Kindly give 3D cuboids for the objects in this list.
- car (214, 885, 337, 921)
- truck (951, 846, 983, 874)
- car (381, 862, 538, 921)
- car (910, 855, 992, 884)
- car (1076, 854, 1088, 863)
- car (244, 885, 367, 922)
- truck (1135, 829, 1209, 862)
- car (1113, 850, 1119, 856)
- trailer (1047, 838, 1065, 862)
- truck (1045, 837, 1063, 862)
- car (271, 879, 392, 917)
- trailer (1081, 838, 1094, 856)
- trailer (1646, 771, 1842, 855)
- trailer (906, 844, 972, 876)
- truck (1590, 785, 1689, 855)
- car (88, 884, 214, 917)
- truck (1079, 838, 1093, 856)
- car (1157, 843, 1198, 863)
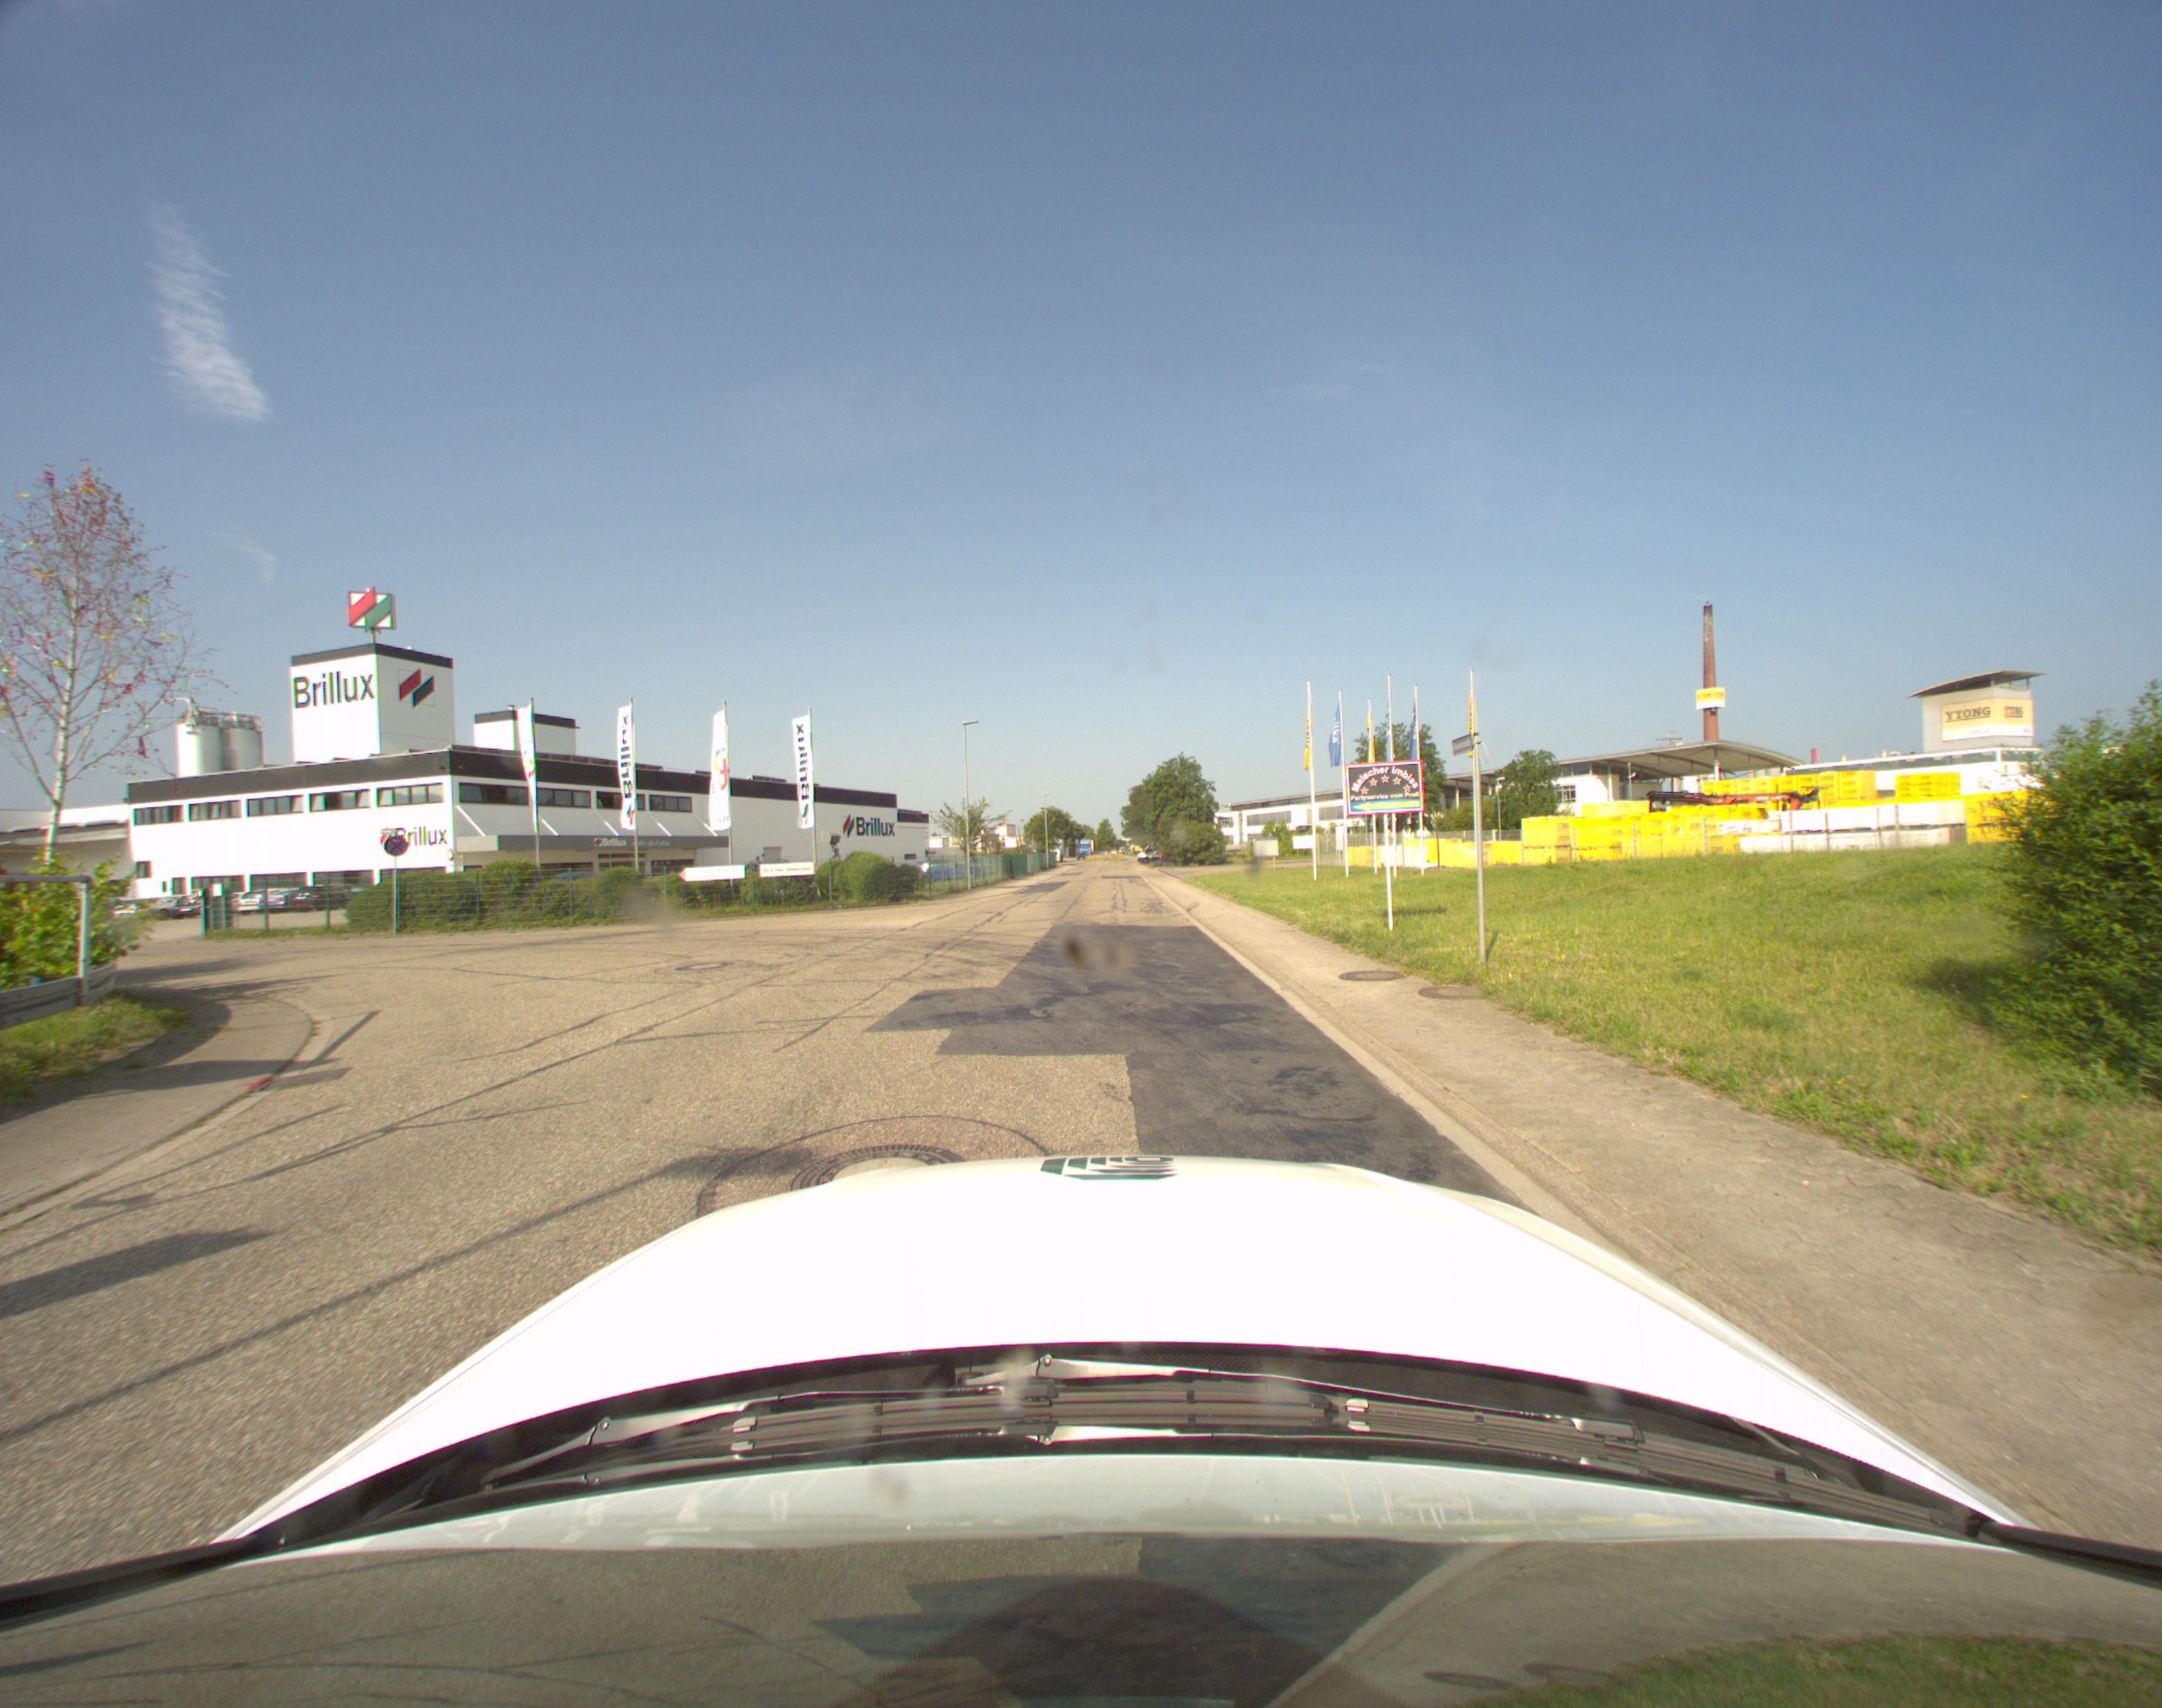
[{"bbox_3d":[-47.193,2.810,47.904,1.986,1.702,5.064,-3,0,2],"label":"car"},{"bbox_3d":[-16.499,0.872,117.915,2.493,4.071,5.568,-1,-1,17],"label":"truck"},{"bbox_3d":[-21.076,1.271,27.608,4.608,1.752,2.164,-3,0,23],"label":"car"},{"bbox_3d":[-8.042,0.947,50.702,4.669,1.444,2.079,-4,0,1],"label":"car"},{"bbox_3d":[0.112,0.798,145.970,1.987,1.449,4.420,-5,0,1],"label":"car"},{"bbox_3d":[-44.154,2.762,46.547,1.986,1.702,5.064,-3,0,2],"label":"car"},{"bbox_3d":[10.449,-0.973,93.975,8.179,3.370,2.741,-3,-1,1],"label":"truck"},{"bbox_3d":[10.376,-0.290,242.040,1.712,1.661,3.823,0,-1,0],"label":"car"},{"bbox_3d":[-4.230,-0.667,138.453,2.689,3.922,7.577,0,-1,2],"label":"trailer"},{"bbox_3d":[-4.365,-0.715,134.056,2.699,3.922,4.298,0,-1,1],"label":"truck"},{"bbox_3d":[-41.410,2.393,45.218,1.987,1.702,5.060,-3,0,-1],"label":"car"},{"bbox_3d":[1.554,-1.519,188.335,2.820,3.843,12.041,0,-1,2],"label":"trailer"},{"bbox_3d":[34.123,-1.948,42.408,2.485,3.876,7.748,0,-1,-20],"label":"trailer"},{"bbox_3d":[-18.953,0.797,110.261,2.462,4.041,13.952,-1,-1,18],"label":"trailer"},{"bbox_3d":[32.386,-1.884,47.329,2.546,3.876,3.973,0,-1,-20],"label":"truck"},{"bbox_3d":[-58.570,2.889,51.464,1.986,1.702,5.064,-3,0,2],"label":"car"},{"bbox_3d":[1.168,-1.487,178.298,2.814,3.826,9.676,0,-1,2],"label":"truck"},{"bbox_3d":[9.842,-0.090,83.339,3.970,1.838,2.002,-3,0,3],"label":"car"}]
